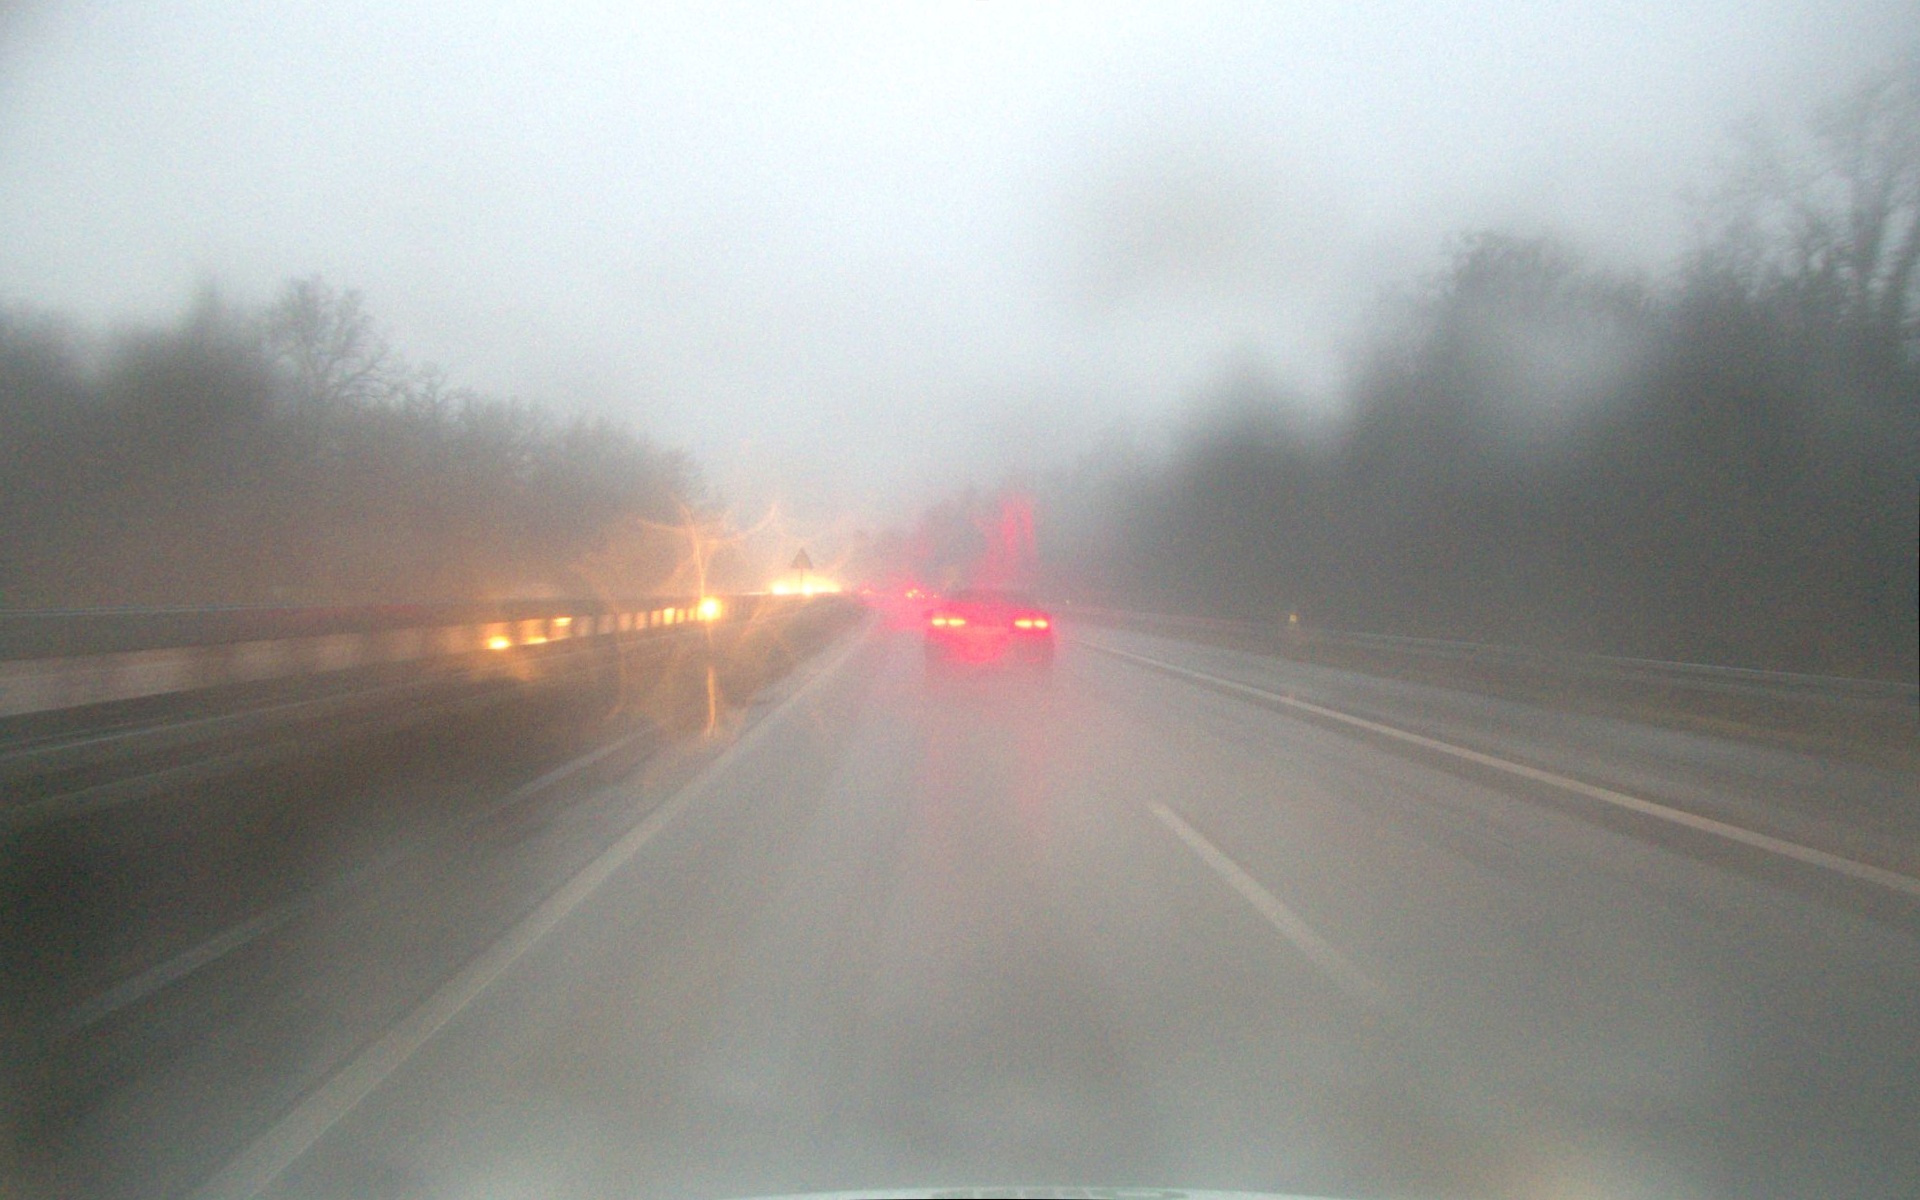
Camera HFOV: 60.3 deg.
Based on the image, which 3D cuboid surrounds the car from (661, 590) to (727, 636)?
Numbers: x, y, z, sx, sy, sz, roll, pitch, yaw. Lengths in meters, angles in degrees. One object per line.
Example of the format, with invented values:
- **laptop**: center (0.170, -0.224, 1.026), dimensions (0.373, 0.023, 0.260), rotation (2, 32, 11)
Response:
- **car**: center (-9.677, 0.465, 60.382), dimensions (1.796, 1.576, 4.527), rotation (1, 0, -2)

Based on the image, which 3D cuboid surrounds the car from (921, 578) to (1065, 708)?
- **car**: center (0.427, 0.619, 25.593), dimensions (1.886, 1.823, 3.937), rotation (1, 0, -4)

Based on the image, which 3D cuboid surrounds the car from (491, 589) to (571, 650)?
- **car**: center (-12.717, 0.568, 49.156), dimensions (1.511, 1.725, 3.500), rotation (1, 0, -2)
